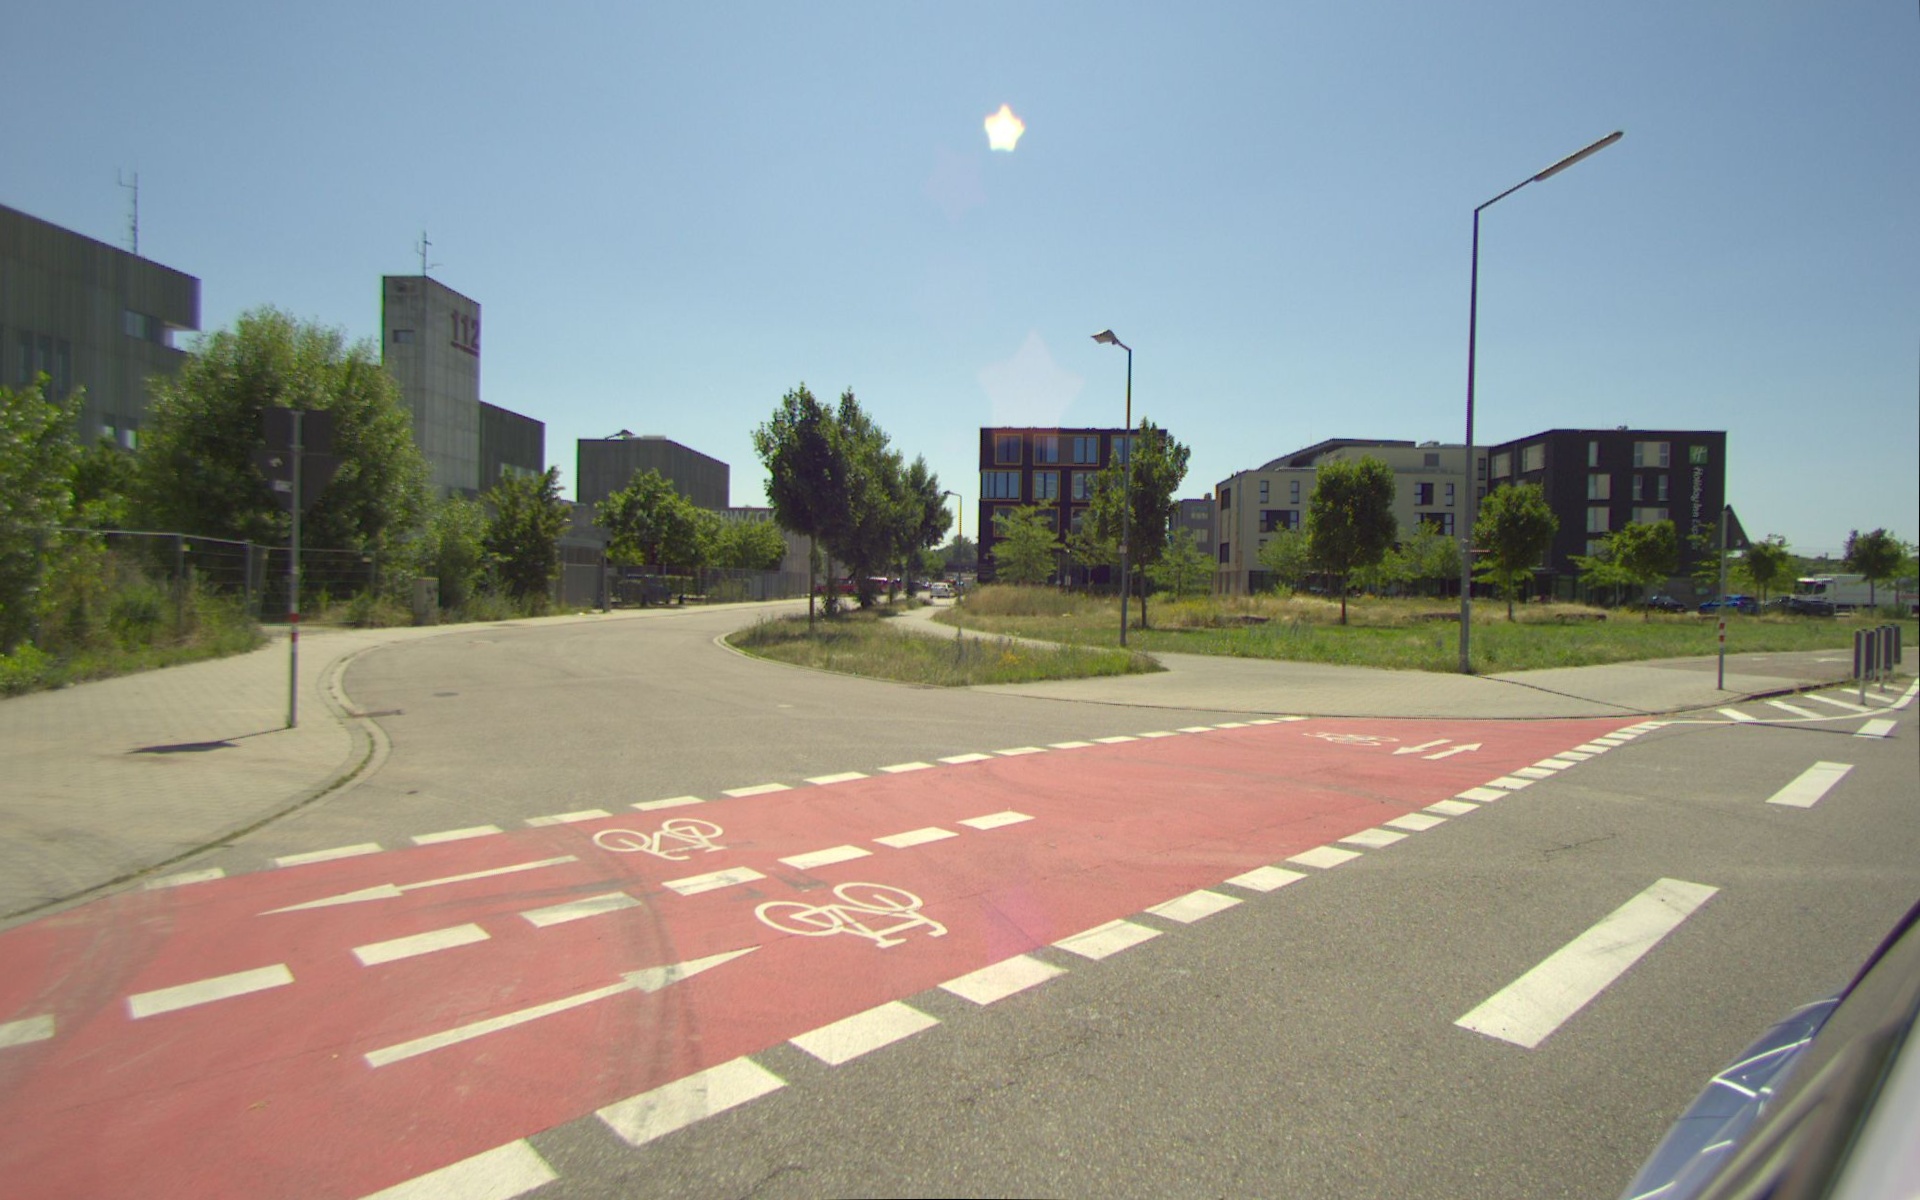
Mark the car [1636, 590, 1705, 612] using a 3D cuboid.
[{"bbox_3d":[51.034,0.064,72.800,1.924,1.462,4.130,1,1,-3],"label":"car"}]

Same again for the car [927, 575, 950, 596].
[{"bbox_3d":[-2.057,-1.388,97.073,1.925,1.953,3.488,0,0,5],"label":"car"}]

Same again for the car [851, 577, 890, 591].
[{"bbox_3d":[-10.664,-1.919,120.580,4.440,1.529,1.803,1,1,1],"label":"car"}]

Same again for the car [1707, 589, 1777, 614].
[{"bbox_3d":[55.921,0.081,72.466,1.919,1.672,4.069,1,1,2],"label":"car"}]

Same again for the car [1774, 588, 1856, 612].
[{"bbox_3d":[60.450,-0.018,71.651,1.994,1.581,4.507,1,1,2],"label":"car"}]

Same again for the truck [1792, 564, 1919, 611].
[{"bbox_3d":[74.952,-1.016,81.956,11.924,3.503,3.016,1,3,5],"label":"truck"}]

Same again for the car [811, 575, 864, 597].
[{"bbox_3d":[-12.394,-1.433,102.496,5.068,2.142,2.234,1,1,5],"label":"car"}]

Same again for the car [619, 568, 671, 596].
[{"bbox_3d":[-17.958,-1.023,57.810,1.624,1.509,3.999,1,1,1],"label":"car"}]
